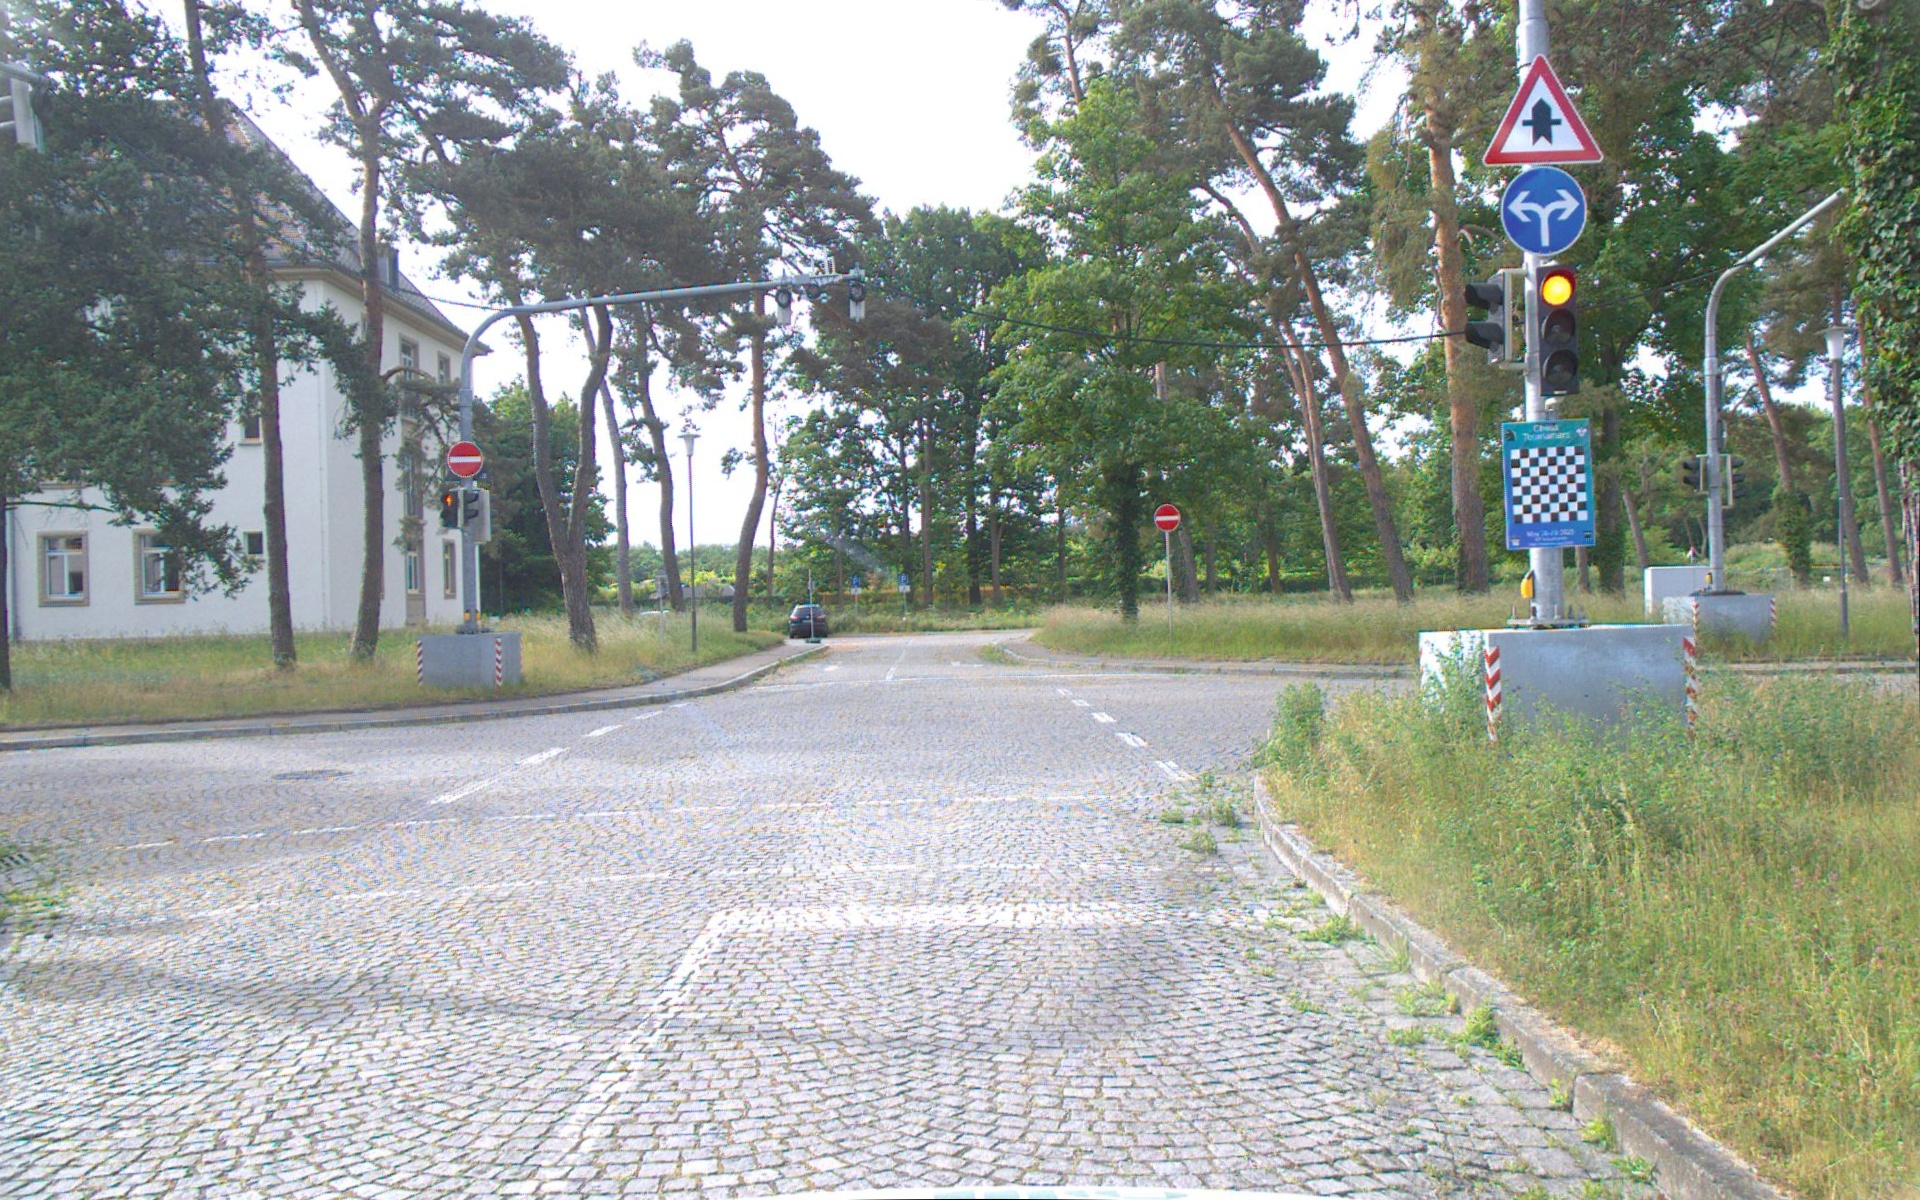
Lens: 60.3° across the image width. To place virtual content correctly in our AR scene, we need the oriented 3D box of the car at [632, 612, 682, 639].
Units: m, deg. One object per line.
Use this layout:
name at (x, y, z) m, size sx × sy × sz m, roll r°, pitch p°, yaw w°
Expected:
car at (-14.639, 1.225, 80.014) m, size 1.654 × 1.176 × 4.000 m, roll -2°, pitch 0°, yaw 0°

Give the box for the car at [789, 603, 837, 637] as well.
car at (-6.997, 0.939, 78.959) m, size 1.953 × 1.534 × 4.000 m, roll 0°, pitch 0°, yaw 0°

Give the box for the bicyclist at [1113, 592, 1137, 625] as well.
bicyclist at (7.875, 0.419, 79.121) m, size 0.955 × 1.537 × 0.807 m, roll -2°, pitch 0°, yaw -4°
